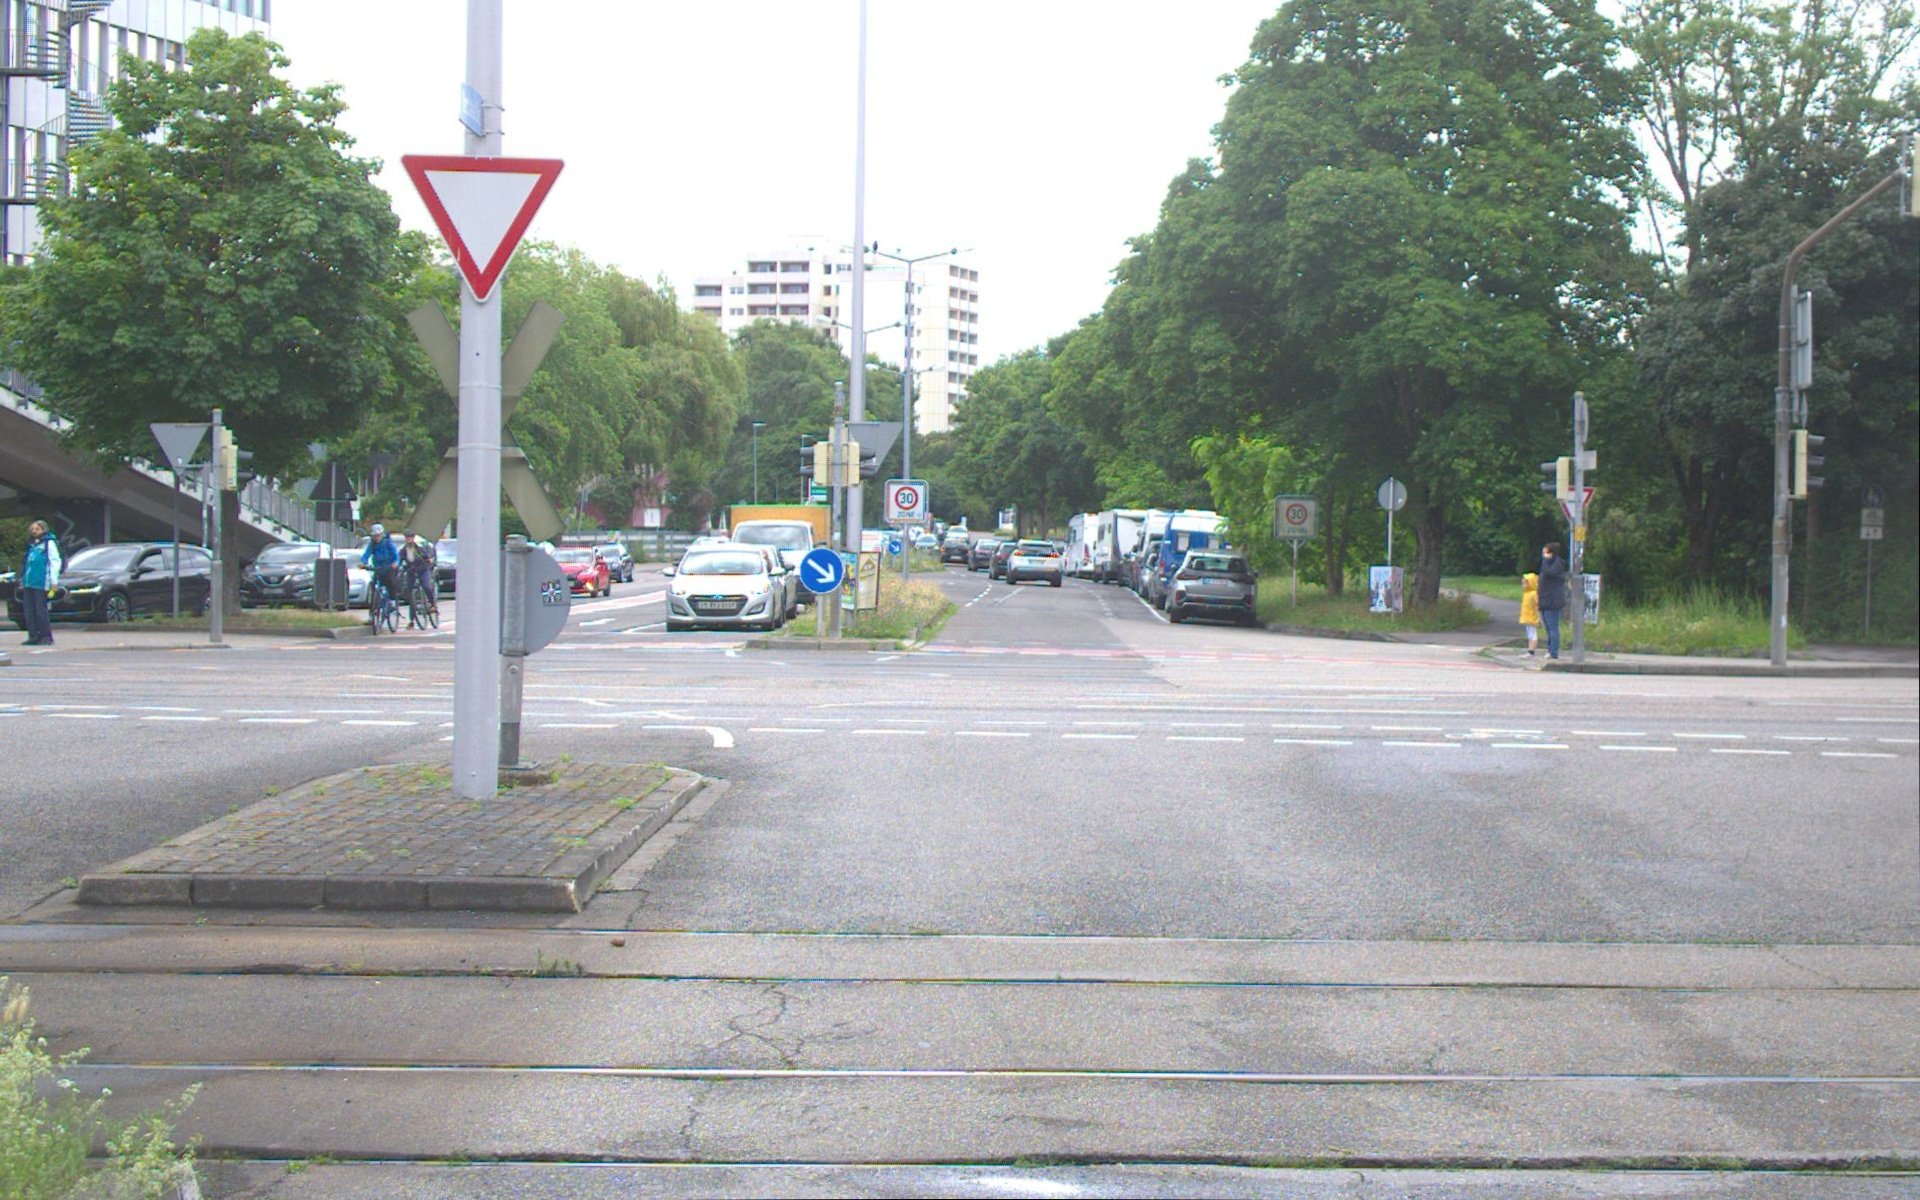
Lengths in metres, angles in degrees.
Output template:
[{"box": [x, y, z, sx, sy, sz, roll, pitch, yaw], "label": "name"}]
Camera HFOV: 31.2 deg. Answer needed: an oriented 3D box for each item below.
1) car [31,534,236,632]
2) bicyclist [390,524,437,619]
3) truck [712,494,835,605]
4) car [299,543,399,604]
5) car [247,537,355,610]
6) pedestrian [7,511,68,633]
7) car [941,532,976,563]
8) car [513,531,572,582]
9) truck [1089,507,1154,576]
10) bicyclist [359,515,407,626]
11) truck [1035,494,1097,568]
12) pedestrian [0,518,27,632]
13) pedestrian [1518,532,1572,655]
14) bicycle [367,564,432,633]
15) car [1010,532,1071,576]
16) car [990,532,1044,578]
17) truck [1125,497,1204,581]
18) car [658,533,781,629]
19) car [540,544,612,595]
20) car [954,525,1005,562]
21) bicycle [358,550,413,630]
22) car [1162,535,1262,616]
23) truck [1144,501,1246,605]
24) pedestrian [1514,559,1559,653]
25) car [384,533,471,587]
[{"box": [-13.756, -0.315, 57.436, 1.672, 1.546, 3.998, 1, 1, 14], "label": "car"}, {"box": [-9.280, -0.483, 58.397, 0.679, 1.589, 0.695, 1, 0, -1], "label": "bicyclist"}, {"box": [-3.851, -1.076, 72.017, 2.155, 2.191, 5.840, 1, 1, 1], "label": "truck"}, {"box": [-14.748, -0.653, 83.142, 1.671, 1.382, 3.895, 1, 1, 0], "label": "car"}, {"box": [-14.851, -0.618, 77.646, 1.671, 1.546, 3.892, 1, 1, 0], "label": "car"}, {"box": [-12.279, -0.378, 45.775, 0.687, 1.599, 0.488, 1, 1, -5], "label": "pedestrian"}, {"box": [-0.068, -2.639, 171.804, 1.554, 1.500, 4.001, 1, 1, -3], "label": "car"}, {"box": [-13.118, -1.379, 108.115, 1.444, 1.546, 3.664, 1, 1, -1], "label": "car"}, {"box": [6.167, -2.243, 132.135, 1.993, 2.564, 5.379, 1, 1, -2], "label": "truck"}, {"box": [-9.316, -0.484, 55.538, 0.644, 1.762, 0.647, 1, 1, -1], "label": "bicyclist"}, {"box": [4.390, -2.850, 142.922, 1.993, 2.998, 5.773, 1, 1, -4], "label": "truck"}, {"box": [-12.922, -0.339, 45.789, 0.917, 1.505, 0.404, 1, 1, -11], "label": "pedestrian"}, {"box": [8.368, -0.098, 49.205, 0.657, 1.744, 0.459, 1, 1, -1], "label": "pedestrian"}, {"box": [-9.389, -0.041, 57.616, 0.726, 1.097, 2.264, 1, 1, -1], "label": "bicycle"}, {"box": [2.848, -1.651, 122.501, 2.020, 1.500, 4.000, 1, 1, -1], "label": "car"}, {"box": [2.217, -1.770, 135.360, 1.993, 1.757, 4.000, 1, 1, -1], "label": "car"}, {"box": [7.105, -2.116, 120.062, 1.993, 2.828, 5.732, 1, 1, -4], "label": "truck"}, {"box": [-4.012, -0.355, 57.826, 1.789, 1.514, 4.326, 1, 1, -1], "label": "car"}, {"box": [-10.810, -0.862, 96.895, 1.512, 1.385, 3.532, 1, 1, 2], "label": "car"}, {"box": [0.785, -2.361, 142.887, 2.020, 1.500, 4.000, 1, 1, -1], "label": "car"}, {"box": [-9.359, -0.177, 56.045, 0.543, 1.263, 2.111, 1, 1, -1], "label": "bicycle"}, {"box": [5.400, -0.541, 73.929, 1.784, 1.656, 4.000, 1, 1, -1], "label": "car"}, {"box": [6.155, -1.235, 90.721, 2.174, 2.647, 6.247, 0, 1, -1], "label": "truck"}, {"box": [8.372, 0.081, 49.925, 0.527, 1.337, 0.525, 1, 1, -1], "label": "pedestrian"}, {"box": [-14.484, -1.110, 93.684, 1.763, 1.390, 4.000, 1, 1, -1], "label": "car"}]
